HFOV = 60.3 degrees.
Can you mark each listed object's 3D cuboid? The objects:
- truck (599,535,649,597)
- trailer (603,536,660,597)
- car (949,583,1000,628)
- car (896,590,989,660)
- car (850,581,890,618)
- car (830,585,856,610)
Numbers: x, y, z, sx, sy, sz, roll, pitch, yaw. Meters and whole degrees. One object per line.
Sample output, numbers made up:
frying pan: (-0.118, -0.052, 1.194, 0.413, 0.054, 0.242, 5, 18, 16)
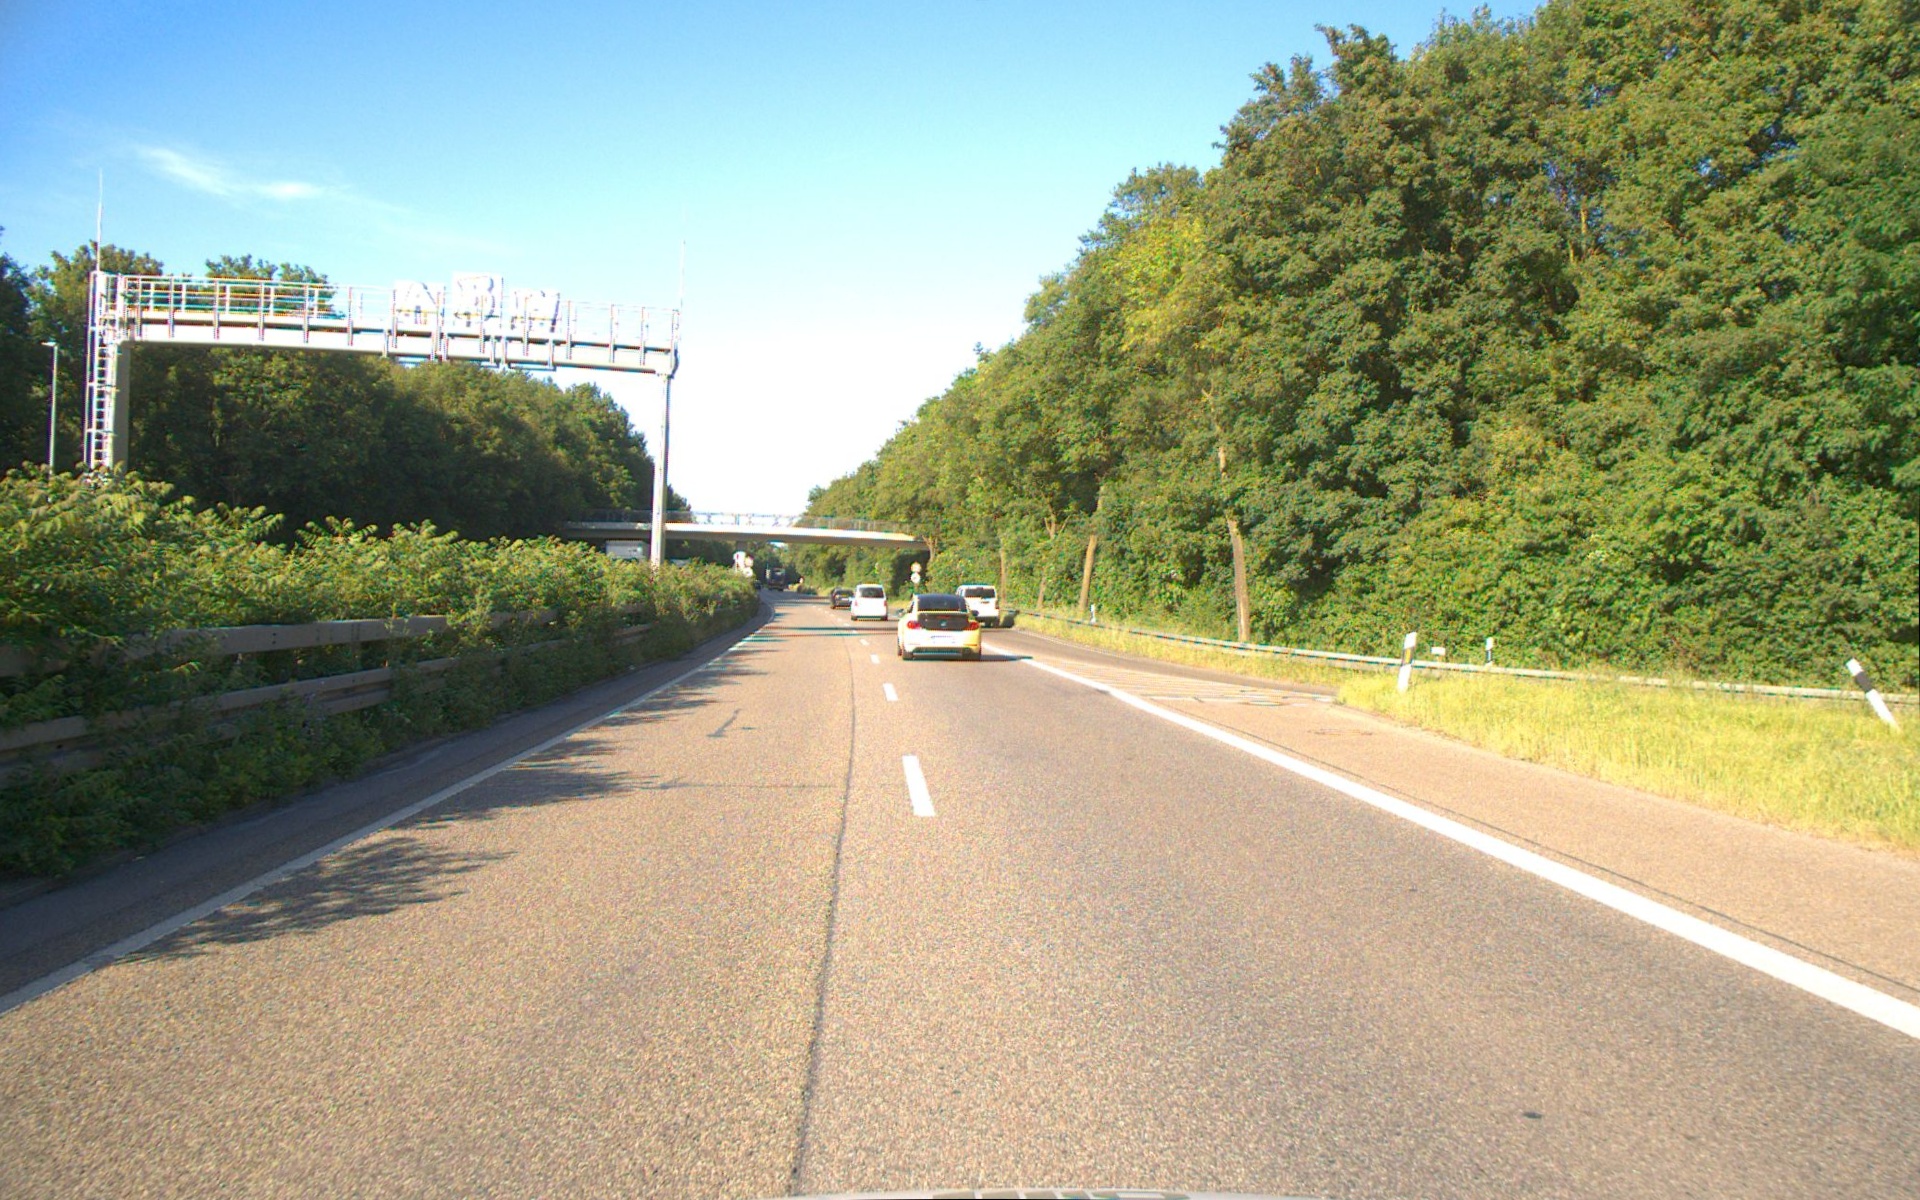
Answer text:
truck: (-23.228, -2.291, 114.655, 2.686, 4.097, 6.171, 2, 0, -6)
trailer: (-23.916, -2.322, 120.958, 2.686, 4.097, 14.056, 2, 0, -6)
car: (0.595, 0.226, 70.664, 1.860, 1.855, 3.997, 1, 0, -4)
car: (-0.463, 0.529, 37.843, 1.860, 1.496, 3.996, 1, 0, -4)
car: (-4.560, -0.023, 83.249, 1.860, 1.798, 3.995, 1, 0, -5)
car: (-8.600, -0.186, 121.480, 1.860, 1.798, 3.996, 1, 0, -4)
